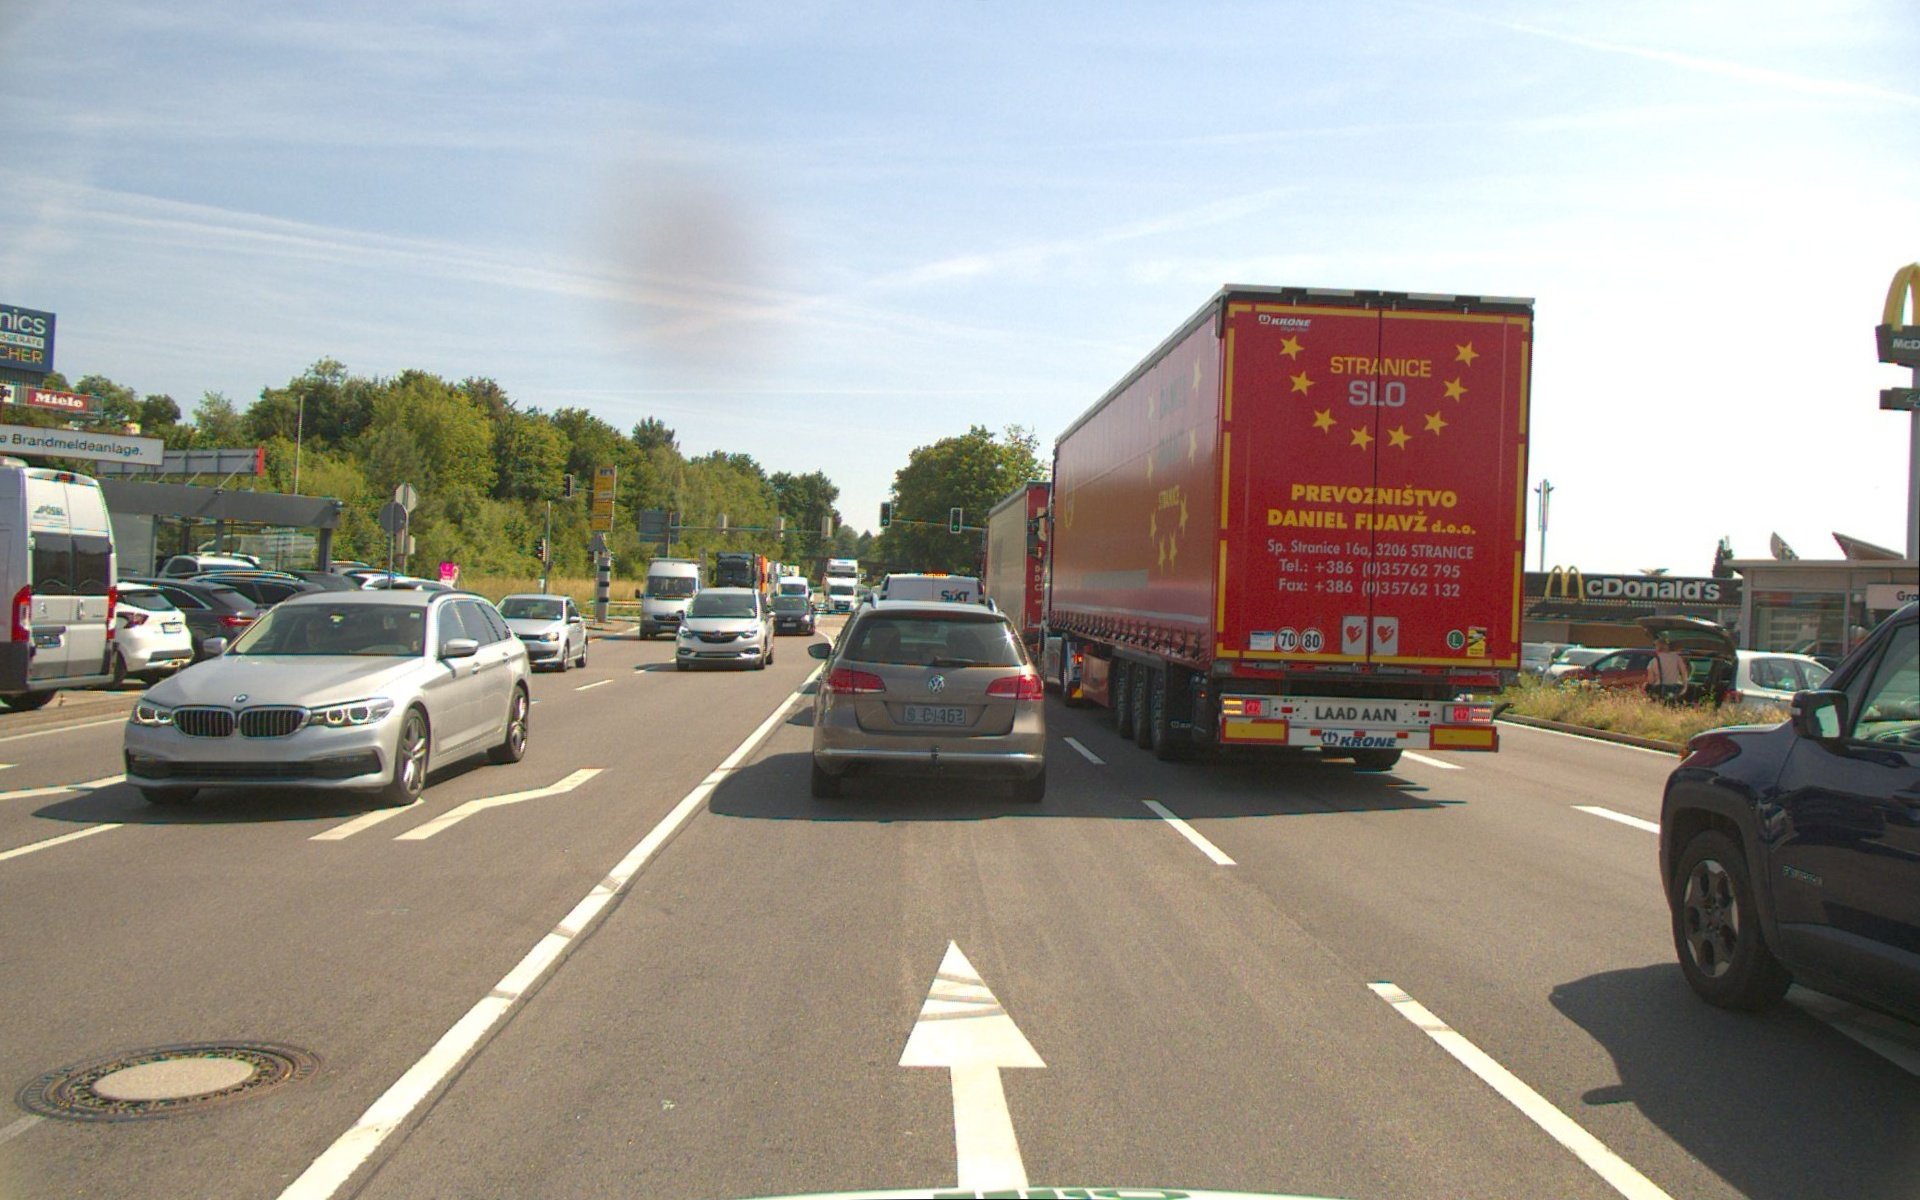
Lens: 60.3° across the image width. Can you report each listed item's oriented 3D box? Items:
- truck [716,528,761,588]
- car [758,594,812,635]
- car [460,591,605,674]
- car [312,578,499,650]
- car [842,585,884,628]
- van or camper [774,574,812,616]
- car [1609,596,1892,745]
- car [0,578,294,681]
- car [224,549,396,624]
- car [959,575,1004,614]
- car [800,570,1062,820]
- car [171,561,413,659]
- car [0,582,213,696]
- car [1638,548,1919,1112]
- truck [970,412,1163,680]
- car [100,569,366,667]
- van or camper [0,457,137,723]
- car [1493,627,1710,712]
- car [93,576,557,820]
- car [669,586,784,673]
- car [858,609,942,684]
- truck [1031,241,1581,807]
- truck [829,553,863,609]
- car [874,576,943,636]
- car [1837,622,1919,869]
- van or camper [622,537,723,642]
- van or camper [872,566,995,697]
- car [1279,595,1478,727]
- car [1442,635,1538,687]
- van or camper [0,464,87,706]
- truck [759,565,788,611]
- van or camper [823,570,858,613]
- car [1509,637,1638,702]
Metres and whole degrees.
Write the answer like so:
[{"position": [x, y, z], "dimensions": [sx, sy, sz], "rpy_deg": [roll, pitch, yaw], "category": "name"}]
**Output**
[{"position": [-14.673, -2.717, 109.793], "dimensions": [2.758, 3.852, 6.981], "rpy_deg": [0, 0, -6], "category": "truck"}, {"position": [-6.396, 0.510, 60.865], "dimensions": [1.632, 1.434, 3.925], "rpy_deg": [0, 0, -1], "category": "car"}, {"position": [-8.207, 0.582, 32.103], "dimensions": [1.799, 1.473, 4.080], "rpy_deg": [1, 0, -1], "category": "car"}, {"position": [-14.283, 0.336, 42.564], "dimensions": [4.429, 1.723, 2.128], "rpy_deg": [1, 0, 29], "category": "car"}, {"position": [-4.531, 0.325, 77.671], "dimensions": [1.691, 1.942, 3.312], "rpy_deg": [2, -1, 1], "category": "car"}, {"position": [-10.775, -0.308, 107.015], "dimensions": [2.130, 2.596, 4.168], "rpy_deg": [2, 0, -3], "category": "van or camper"}, {"position": [11.302, 0.988, 23.621], "dimensions": [3.788, 1.954, 1.688], "rpy_deg": [2, 0, -27], "category": "car"}, {"position": [-12.601, 0.435, 25.696], "dimensions": [3.740, 1.473, 1.841], "rpy_deg": [1, 0, -3], "category": "car"}, {"position": [-15.671, -0.331, 39.877], "dimensions": [3.743, 1.723, 1.840], "rpy_deg": [1, 0, 27], "category": "car"}, {"position": [0.885, -0.216, 69.766], "dimensions": [1.692, 1.545, 3.310], "rpy_deg": [2, -1, -3], "category": "car"}, {"position": [-0.166, 0.649, 12.981], "dimensions": [1.753, 1.667, 3.504], "rpy_deg": [1, 0, 1], "category": "car"}, {"position": [-12.376, 0.182, 30.838], "dimensions": [3.740, 1.704, 1.841], "rpy_deg": [1, 0, -3], "category": "car"}, {"position": [-12.718, 0.508, 23.047], "dimensions": [3.740, 1.473, 1.841], "rpy_deg": [1, 0, -3], "category": "car"}, {"position": [3.819, 0.711, 5.072], "dimensions": [1.782, 1.714, 3.999], "rpy_deg": [1, 0, -1], "category": "car"}, {"position": [2.219, -1.128, 41.926], "dimensions": [3.001, 5.311, 16.999], "rpy_deg": [2, 0, -2], "category": "truck"}, {"position": [-12.427, 0.296, 28.474], "dimensions": [3.740, 1.566, 1.841], "rpy_deg": [1, 0, -3], "category": "car"}, {"position": [-12.326, -0.186, 18.385], "dimensions": [5.139, 2.779, 2.210], "rpy_deg": [2, 0, -1], "category": "van or camper"}, {"position": [13.617, 1.447, 35.308], "dimensions": [1.973, 1.558, 3.959], "rpy_deg": [2, 0, -31], "category": "car"}, {"position": [-4.710, 0.632, 13.149], "dimensions": [1.870, 1.548, 4.780], "rpy_deg": [1, 0, -1], "category": "car"}, {"position": [-4.785, 0.568, 34.432], "dimensions": [1.870, 1.692, 4.180], "rpy_deg": [0, 0, -1], "category": "car"}, {"position": [-1.303, 1.010, 37.130], "dimensions": [1.691, 1.545, 3.312], "rpy_deg": [2, -1, 0], "category": "car"}, {"position": [3.086, -0.623, 21.283], "dimensions": [2.898, 4.344, 16.577], "rpy_deg": [2, 0, -2], "category": "truck"}, {"position": [-9.201, -1.496, 133.814], "dimensions": [2.501, 4.383, 7.592], "rpy_deg": [0, 0, -2], "category": "truck"}, {"position": [-1.380, 0.175, 45.432], "dimensions": [1.691, 1.545, 3.312], "rpy_deg": [2, -1, 1], "category": "car"}, {"position": [6.726, 0.916, 9.100], "dimensions": [1.625, 1.497, 3.999], "rpy_deg": [1, 0, -1], "category": "car"}, {"position": [-9.422, -0.334, 54.784], "dimensions": [2.163, 3.108, 5.901], "rpy_deg": [5, 0, -1], "category": "van or camper"}, {"position": [-0.492, 0.478, 27.234], "dimensions": [1.815, 1.939, 3.782], "rpy_deg": [2, 0, -3], "category": "van or camper"}, {"position": [5.896, 0.793, 23.759], "dimensions": [1.782, 1.714, 3.999], "rpy_deg": [1, 0, -1], "category": "car"}, {"position": [17.236, 1.947, 53.727], "dimensions": [1.705, 1.562, 4.020], "rpy_deg": [2, 0, 37], "category": "car"}, {"position": [-14.492, -0.280, 20.737], "dimensions": [5.773, 2.923, 2.289], "rpy_deg": [2, 1, -2], "category": "van or camper"}, {"position": [-16.161, -1.048, 143.690], "dimensions": [2.484, 3.852, 6.981], "rpy_deg": [0, 0, -6], "category": "truck"}, {"position": [-8.574, -0.579, 118.997], "dimensions": [2.179, 2.890, 5.708], "rpy_deg": [2, -1, -2], "category": "van or camper"}, {"position": [16.408, 1.826, 44.152], "dimensions": [1.710, 1.562, 4.008], "rpy_deg": [2, 0, 45], "category": "car"}]
